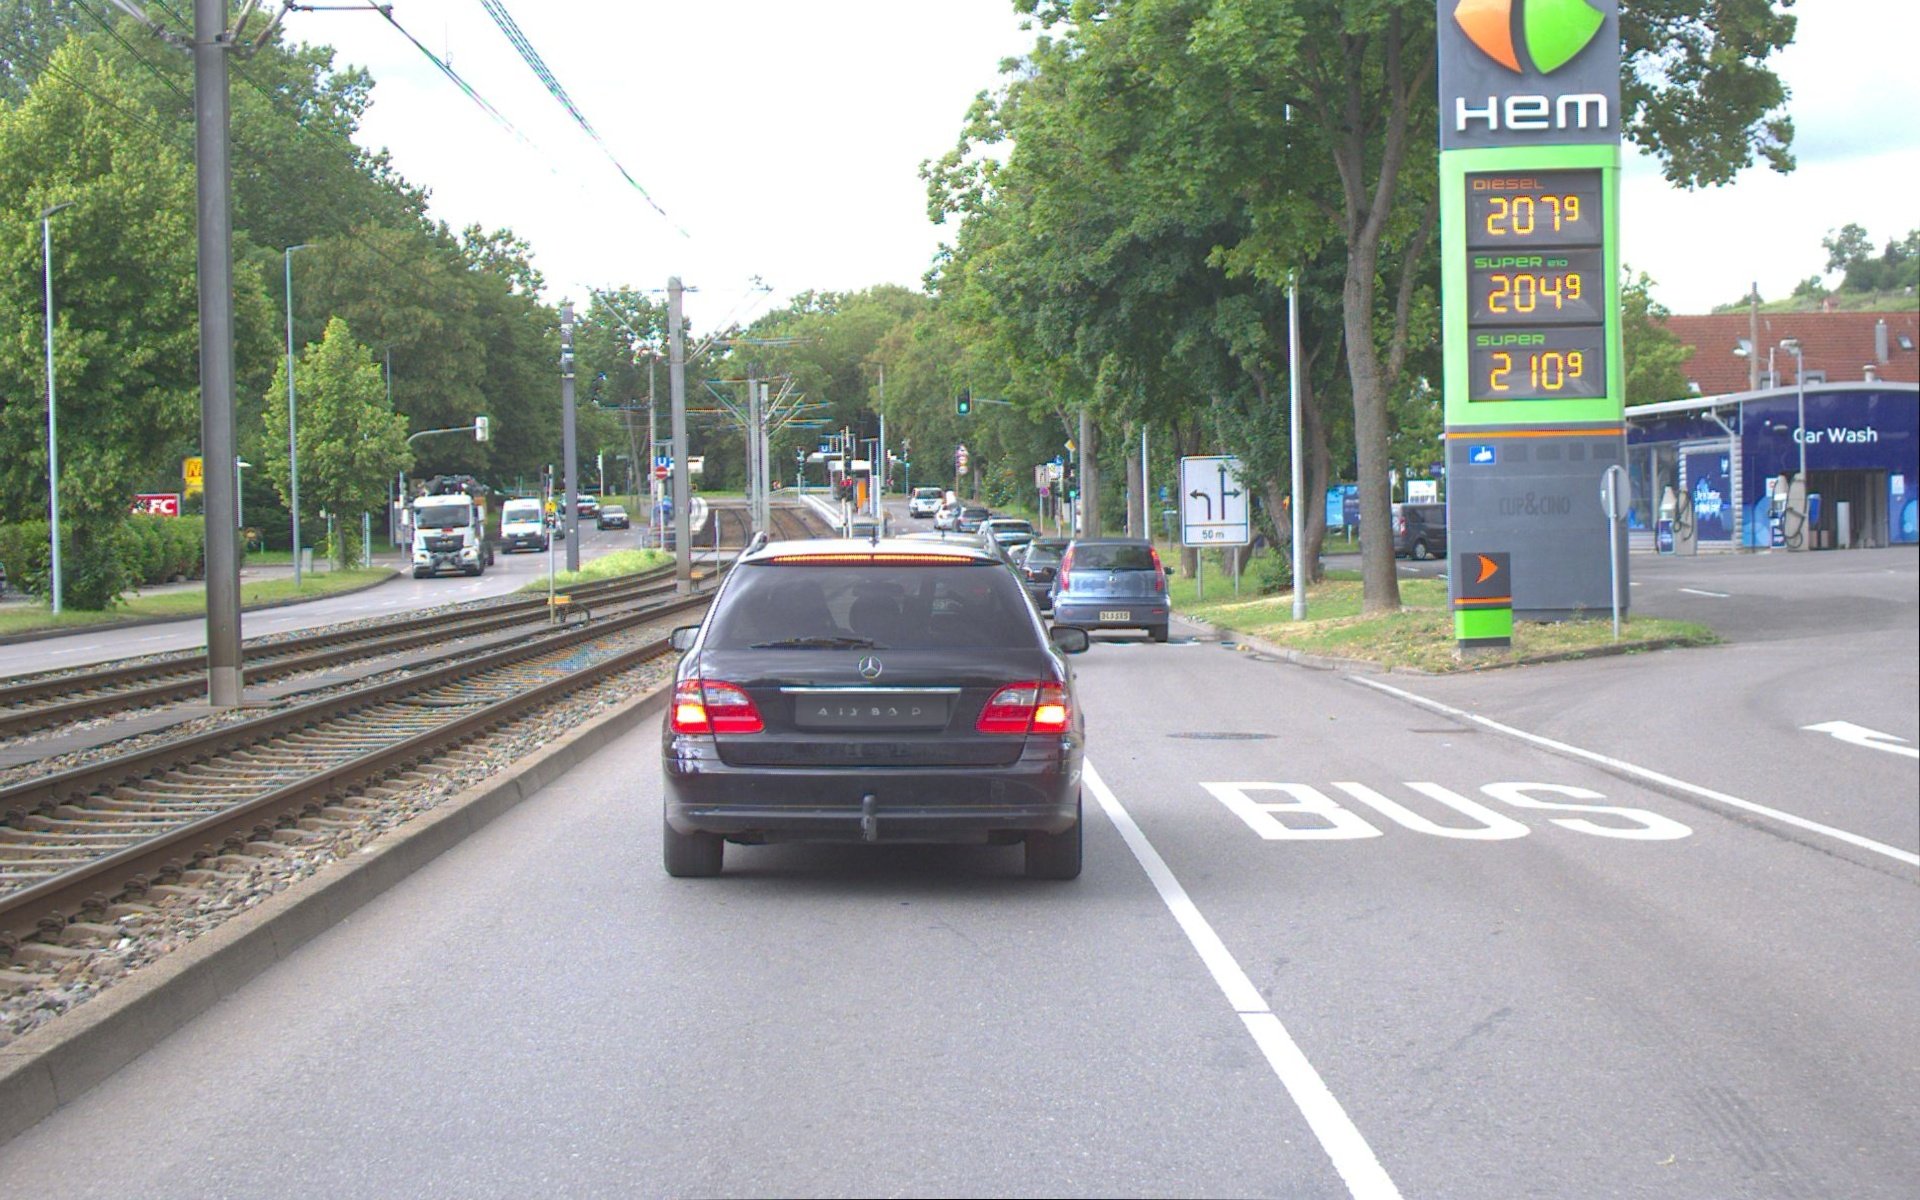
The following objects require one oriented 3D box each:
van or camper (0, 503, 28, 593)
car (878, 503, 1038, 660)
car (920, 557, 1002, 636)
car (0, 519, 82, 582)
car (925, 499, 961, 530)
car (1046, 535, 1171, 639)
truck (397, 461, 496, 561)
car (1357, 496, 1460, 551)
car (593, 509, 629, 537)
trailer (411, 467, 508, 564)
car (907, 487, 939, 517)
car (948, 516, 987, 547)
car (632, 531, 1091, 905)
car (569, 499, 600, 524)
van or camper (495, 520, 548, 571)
[{"bbox_3d":[-24.338,-1.244,81.641,3.986,2.127,1.878,0,1,-5],"label":"van or camper"},{"bbox_3d":[-0.040,-0.225,40.598,1.780,1.744,3.718,1,1,-1],"label":"car"},{"bbox_3d":[-0.002,-0.089,64.034,1.466,1.410,3.354,1,1,-1],"label":"car"},{"bbox_3d":[-25.253,-1.268,90.243,3.986,1.594,1.797,-2,1,-5],"label":"car"},{"bbox_3d":[-0.958,-4.769,192.337,1.993,1.708,4.000,-1,1,-1],"label":"car"},{"bbox_3d":[2.088,-0.193,49.080,1.571,1.410,3.354,1,1,-1],"label":"car"},{"bbox_3d":[-19.712,-3.394,132.569,2.706,3.651,11.114,-2,1,-3],"label":"truck"},{"bbox_3d":[14.290,-2.444,109.323,2.008,1.677,4.574,-1,1,24],"label":"car"},{"bbox_3d":[-21.159,-4.660,208.514,1.765,1.641,3.771,1,1,0],"label":"car"},{"bbox_3d":[-20.071,-3.362,138.572,2.704,3.648,13.301,-2,1,-4],"label":"trailer"},{"bbox_3d":[-2.328,-6.116,215.211,1.993,1.831,4.000,0,1,-1],"label":"car"},{"bbox_3d":[0.383,-3.460,173.181,1.666,1.527,3.771,0,1,-4],"label":"car"},{"bbox_3d":[-0.408,0.429,15.515,1.808,1.469,3.881,0,1,-1],"label":"car"},{"bbox_3d":[-25.530,-6.042,233.872,1.765,1.641,3.771,1,1,0],"label":"car"},{"bbox_3d":[-20.983,-2.614,164.547,1.993,2.346,5.766,-2,1,-3],"label":"van or camper"}]
